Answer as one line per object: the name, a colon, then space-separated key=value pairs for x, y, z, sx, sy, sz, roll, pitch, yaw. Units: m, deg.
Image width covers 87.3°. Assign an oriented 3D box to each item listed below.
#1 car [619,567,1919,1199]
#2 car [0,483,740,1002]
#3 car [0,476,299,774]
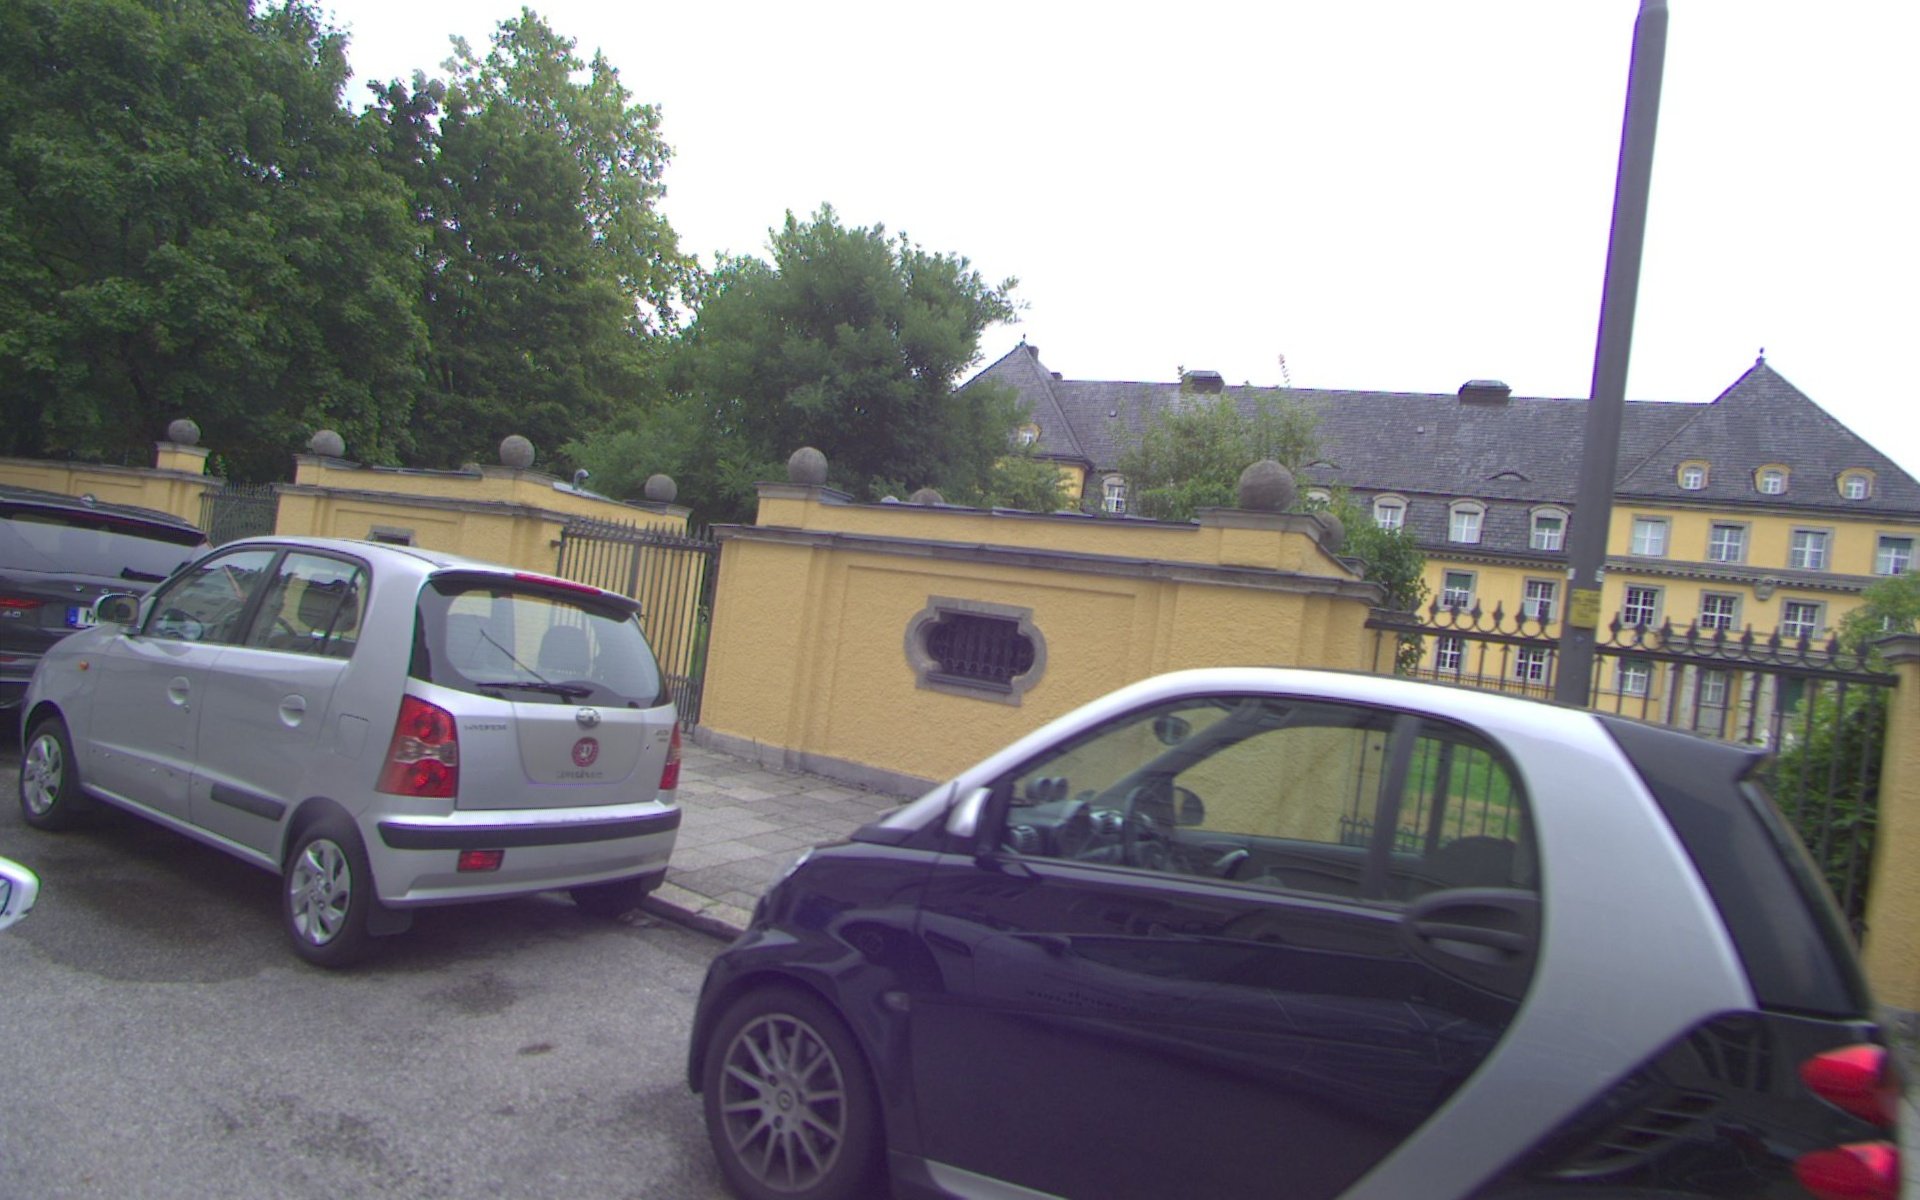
car: x=0.723 y=0.927 z=2.728 sx=2.822 sy=1.583 sz=1.512 roll=7 pitch=-3 yaw=33
car: x=-3.055 y=0.461 z=4.891 sx=3.629 sy=1.556 sz=1.489 roll=7 pitch=-3 yaw=29
car: x=-7.186 y=-0.033 z=7.289 sx=4.741 sy=1.671 sz=1.890 roll=7 pitch=-3 yaw=30
